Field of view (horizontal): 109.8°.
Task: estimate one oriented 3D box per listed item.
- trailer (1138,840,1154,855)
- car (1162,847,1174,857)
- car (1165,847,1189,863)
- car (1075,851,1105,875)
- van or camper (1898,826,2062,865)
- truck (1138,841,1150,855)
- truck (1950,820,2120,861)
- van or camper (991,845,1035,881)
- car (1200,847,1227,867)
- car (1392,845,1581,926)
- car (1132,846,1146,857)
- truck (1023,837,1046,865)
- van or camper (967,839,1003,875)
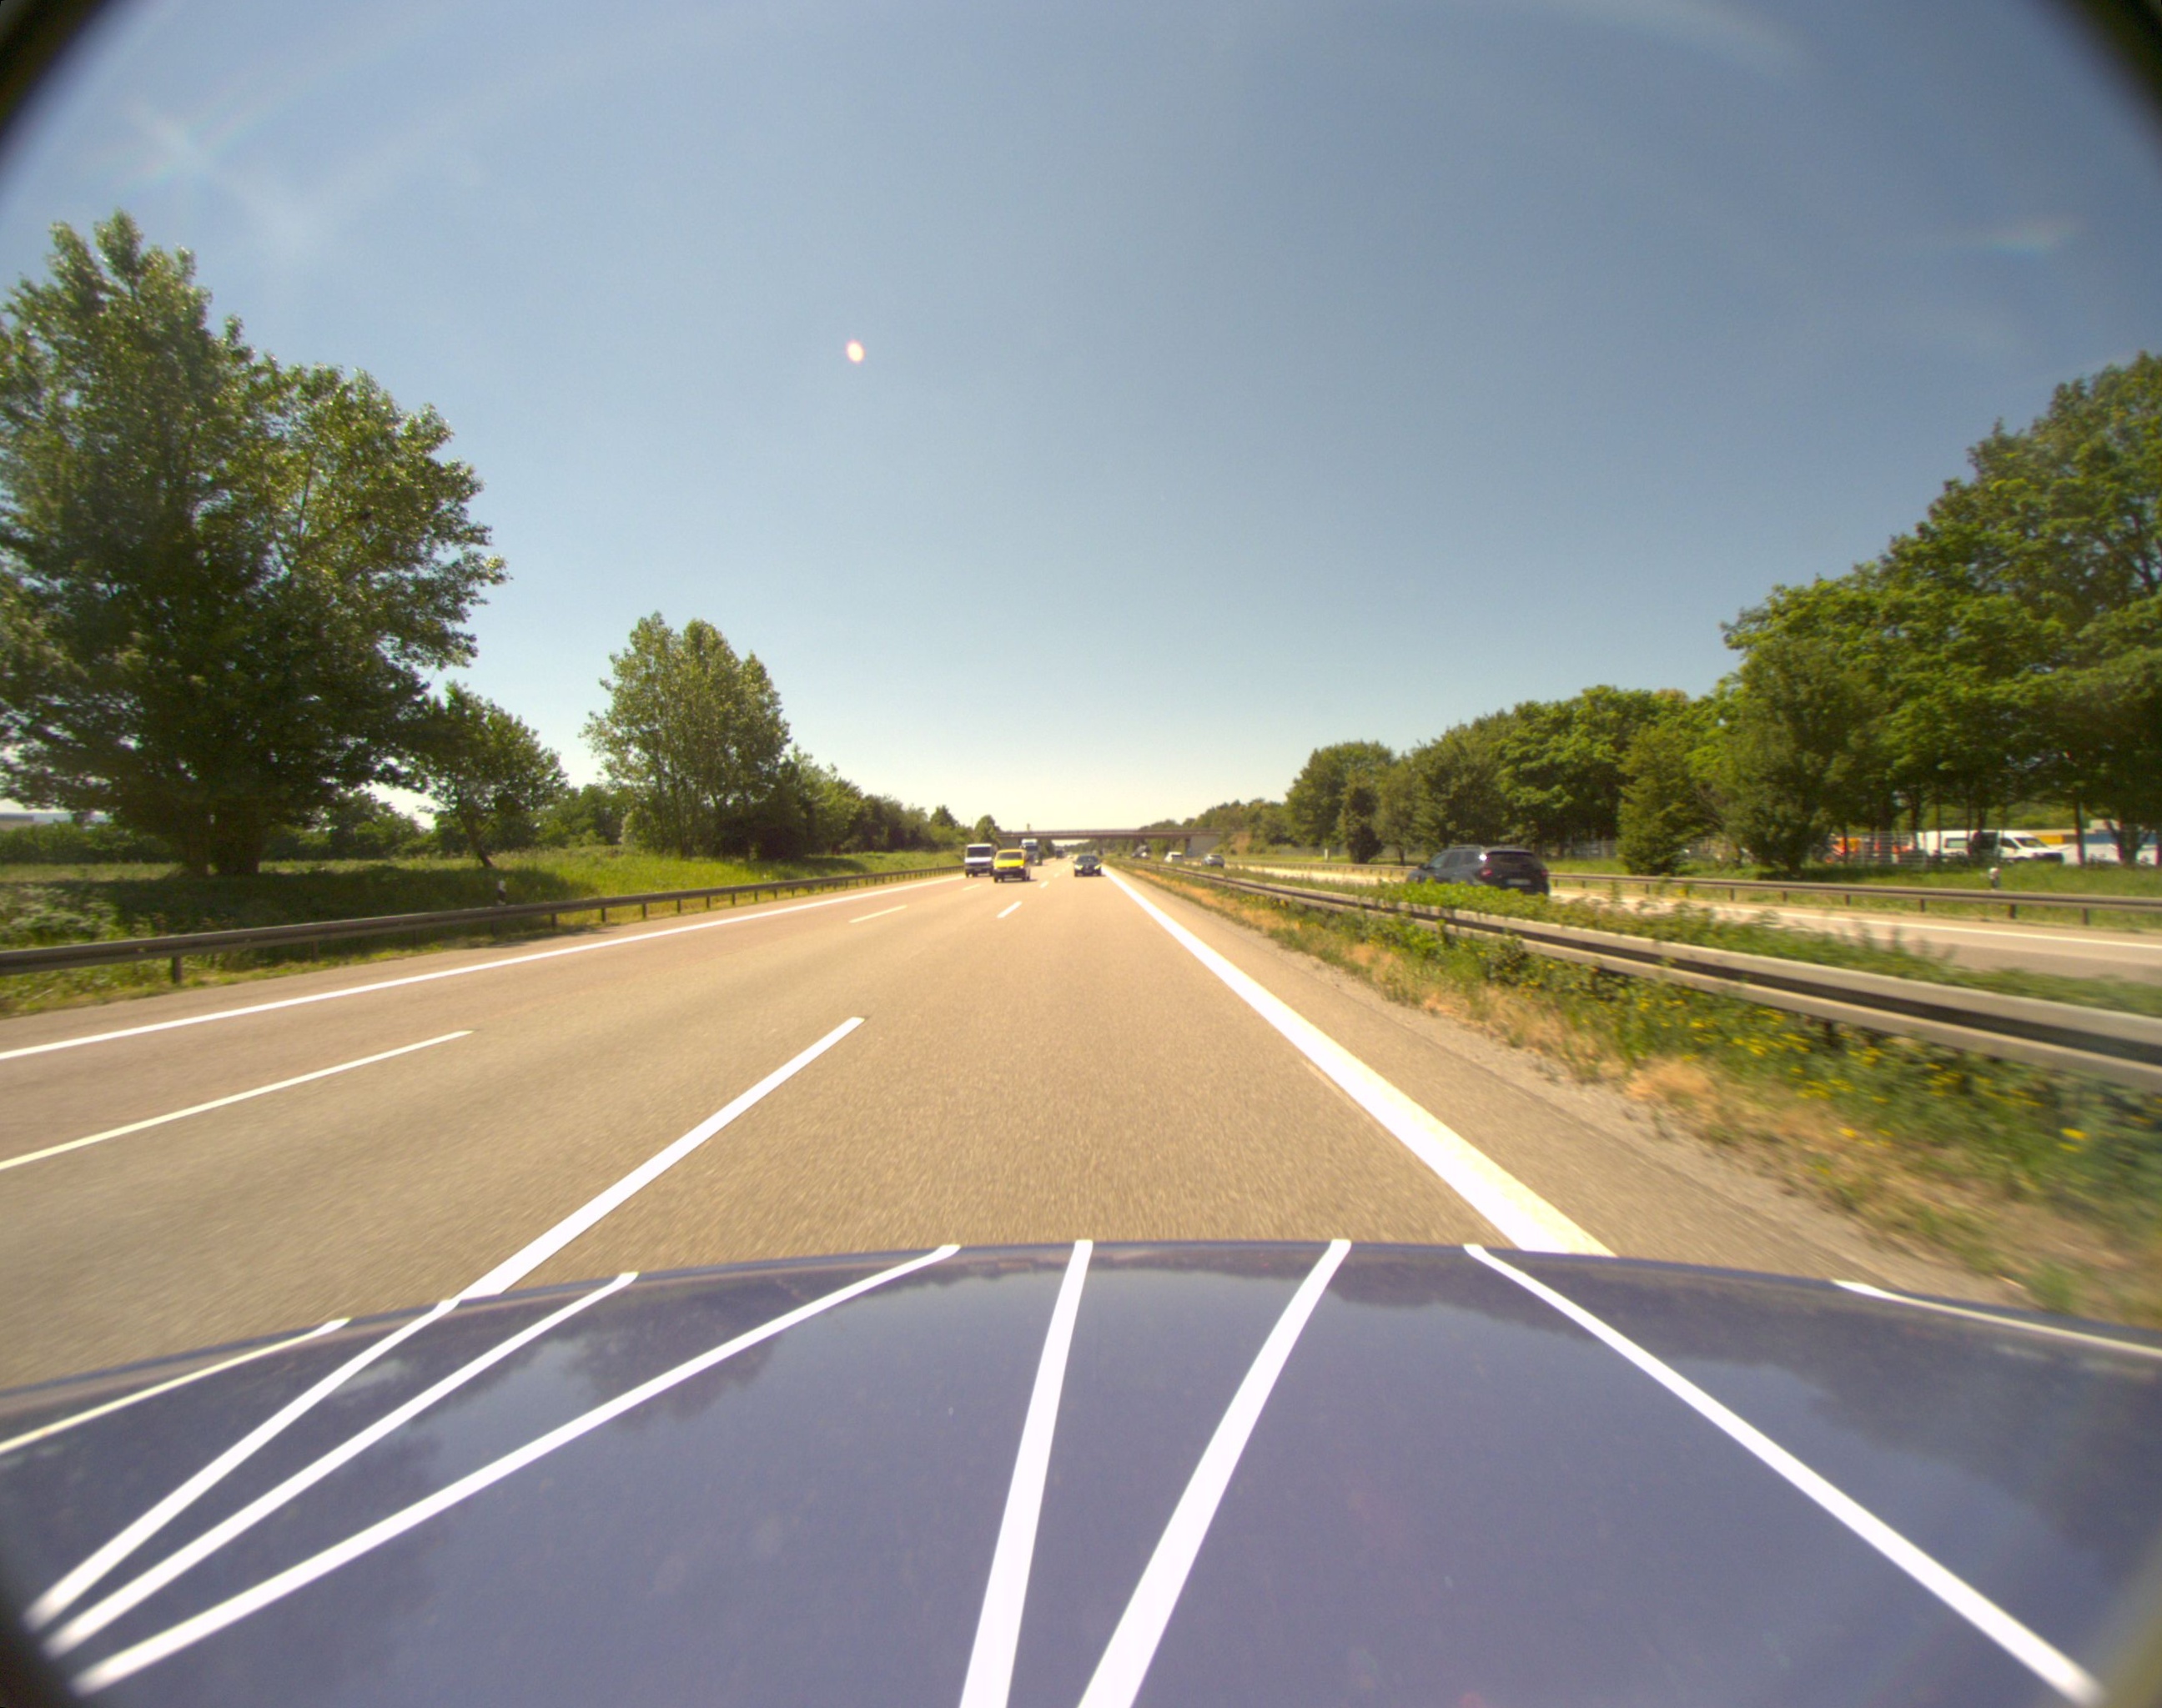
[{"bbox_3d":[18.818,-1.810,220.843,2.886,3.955,17.472,2,0,0],"label":"trailer"},{"bbox_3d":[17.961,-0.443,156.468,1.998,2.002,4.272,0,1,0],"label":"car"},{"bbox_3d":[10.436,0.091,82.564,1.998,1.630,4.572,-3,1,1],"label":"car"},{"bbox_3d":[0.568,0.558,52.037,1.894,1.541,4.038,1,1,-1],"label":"car"},{"bbox_3d":[63.050,-0.597,53.639,2.363,2.537,7.723,0,0,-1],"label":"van or camper"},{"bbox_3d":[18.785,-1.871,227.152,2.886,3.952,7.371,2,0,0],"label":"truck"},{"bbox_3d":[78.081,-1.060,62.556,3.558,3.173,8.295,0,0,1],"label":"truck"},{"bbox_3d":[-4.116,0.508,46.738,2.063,1.992,5.883,-2,0,1],"label":"van or camper"},{"bbox_3d":[13.077,0.291,75.476,1.877,1.783,4.423,-3,1,1],"label":"car"},{"bbox_3d":[9.622,0.652,18.598,1.998,1.630,4.858,3,1,0],"label":"car"},{"bbox_3d":[10.118,-0.429,133.788,1.998,1.875,5.647,-3,1,0],"label":"car"},{"bbox_3d":[-7.117,-0.468,118.127,2.806,4.022,13.352,-3,1,0],"label":"truck"},{"bbox_3d":[-7.790,0.198,62.130,2.119,2.687,6.366,-2,1,0],"label":"van or camper"}]
